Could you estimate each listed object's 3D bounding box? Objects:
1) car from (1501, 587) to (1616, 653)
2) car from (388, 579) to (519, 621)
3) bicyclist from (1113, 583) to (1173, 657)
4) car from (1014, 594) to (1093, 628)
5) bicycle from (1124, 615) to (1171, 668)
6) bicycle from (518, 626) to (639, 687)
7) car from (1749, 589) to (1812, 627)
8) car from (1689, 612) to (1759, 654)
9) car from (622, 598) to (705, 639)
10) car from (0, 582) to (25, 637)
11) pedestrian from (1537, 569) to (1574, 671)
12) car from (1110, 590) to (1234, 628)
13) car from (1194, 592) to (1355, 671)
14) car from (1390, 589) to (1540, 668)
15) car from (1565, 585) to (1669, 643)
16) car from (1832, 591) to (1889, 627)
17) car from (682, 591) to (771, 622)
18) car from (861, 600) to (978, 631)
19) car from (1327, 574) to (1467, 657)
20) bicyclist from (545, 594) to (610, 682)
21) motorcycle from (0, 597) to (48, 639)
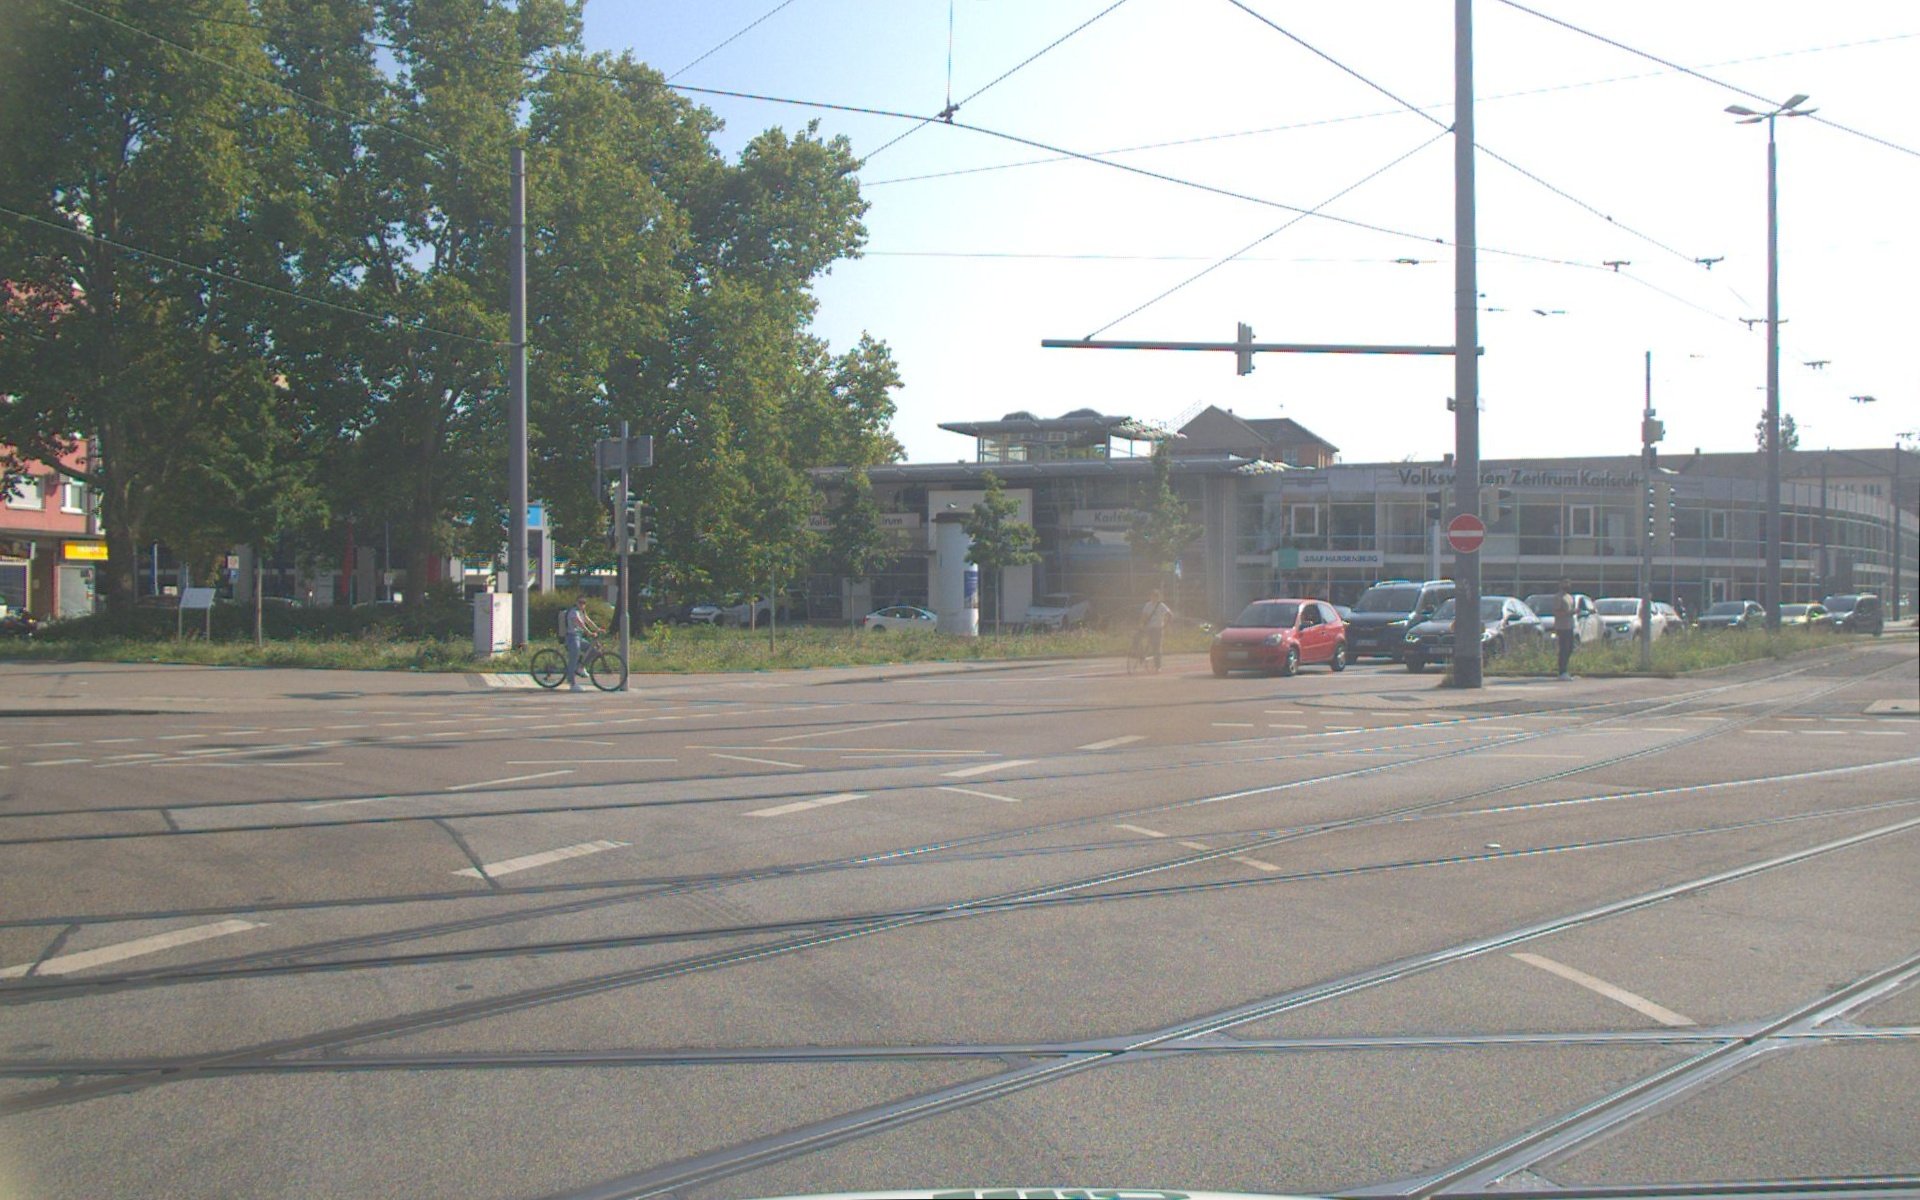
[{"bbox_3d":[14.174,0.427,39.077,1.766,1.460,3.546,0,1,34],"label":"car"},{"bbox_3d":[-17.544,-0.012,57.421,3.904,1.400,2.001,0,0,2],"label":"car"},{"bbox_3d":[3.783,0.403,34.114,1.061,1.501,0.972,0,0,18],"label":"bicyclist"},{"bbox_3d":[4.283,0.474,75.215,1.955,1.488,4.318,0,0,28],"label":"car"},{"bbox_3d":[3.885,0.844,34.103,0.516,1.006,2.199,-1,0,18],"label":"bicycle"},{"bbox_3d":[-6.467,0.946,28.016,2.027,0.909,0.568,2,1,23],"label":"bicycle"},{"bbox_3d":[33.001,0.292,66.449,1.766,1.440,3.988,0,1,34],"label":"car"},{"bbox_3d":[28.782,1.211,62.249,1.766,1.440,3.988,0,1,34],"label":"car"},{"bbox_3d":[-15.252,0.933,85.071,3.912,2.049,1.943,0,0,29],"label":"car"},{"bbox_3d":[-30.973,0.298,50.345,3.903,1.673,2.001,0,1,4],"label":"car"},{"bbox_3d":[10.426,0.340,28.949,0.514,1.760,0.597,0,0,29],"label":"pedestrian"},{"bbox_3d":[8.068,0.322,63.010,4.296,1.394,1.999,0,1,24],"label":"car"},{"bbox_3d":[6.350,0.582,33.099,1.766,1.440,3.988,0,1,34],"label":"car"},{"bbox_3d":[10.371,0.524,33.784,1.766,1.477,4.337,0,1,34],"label":"car"},{"bbox_3d":[17.411,0.338,43.737,1.766,1.440,3.988,0,1,34],"label":"car"},{"bbox_3d":[38.130,0.373,69.976,1.766,1.440,3.988,0,1,34],"label":"car"},{"bbox_3d":[-11.581,0.308,82.212,4.028,1.488,1.969,0,0,-43],"label":"car"},{"bbox_3d":[-1.635,0.611,66.713,4.292,1.186,2.001,0,1,20],"label":"car"},{"bbox_3d":[10.450,0.310,39.288,1.766,1.859,4.758,0,1,34],"label":"car"},{"bbox_3d":[-6.476,0.630,28.015,0.800,1.452,0.731,0,0,22],"label":"bicyclist"},{"bbox_3d":[-23.742,0.446,41.167,1.909,1.019,0.705,0,0,19],"label":"motorcycle"}]
